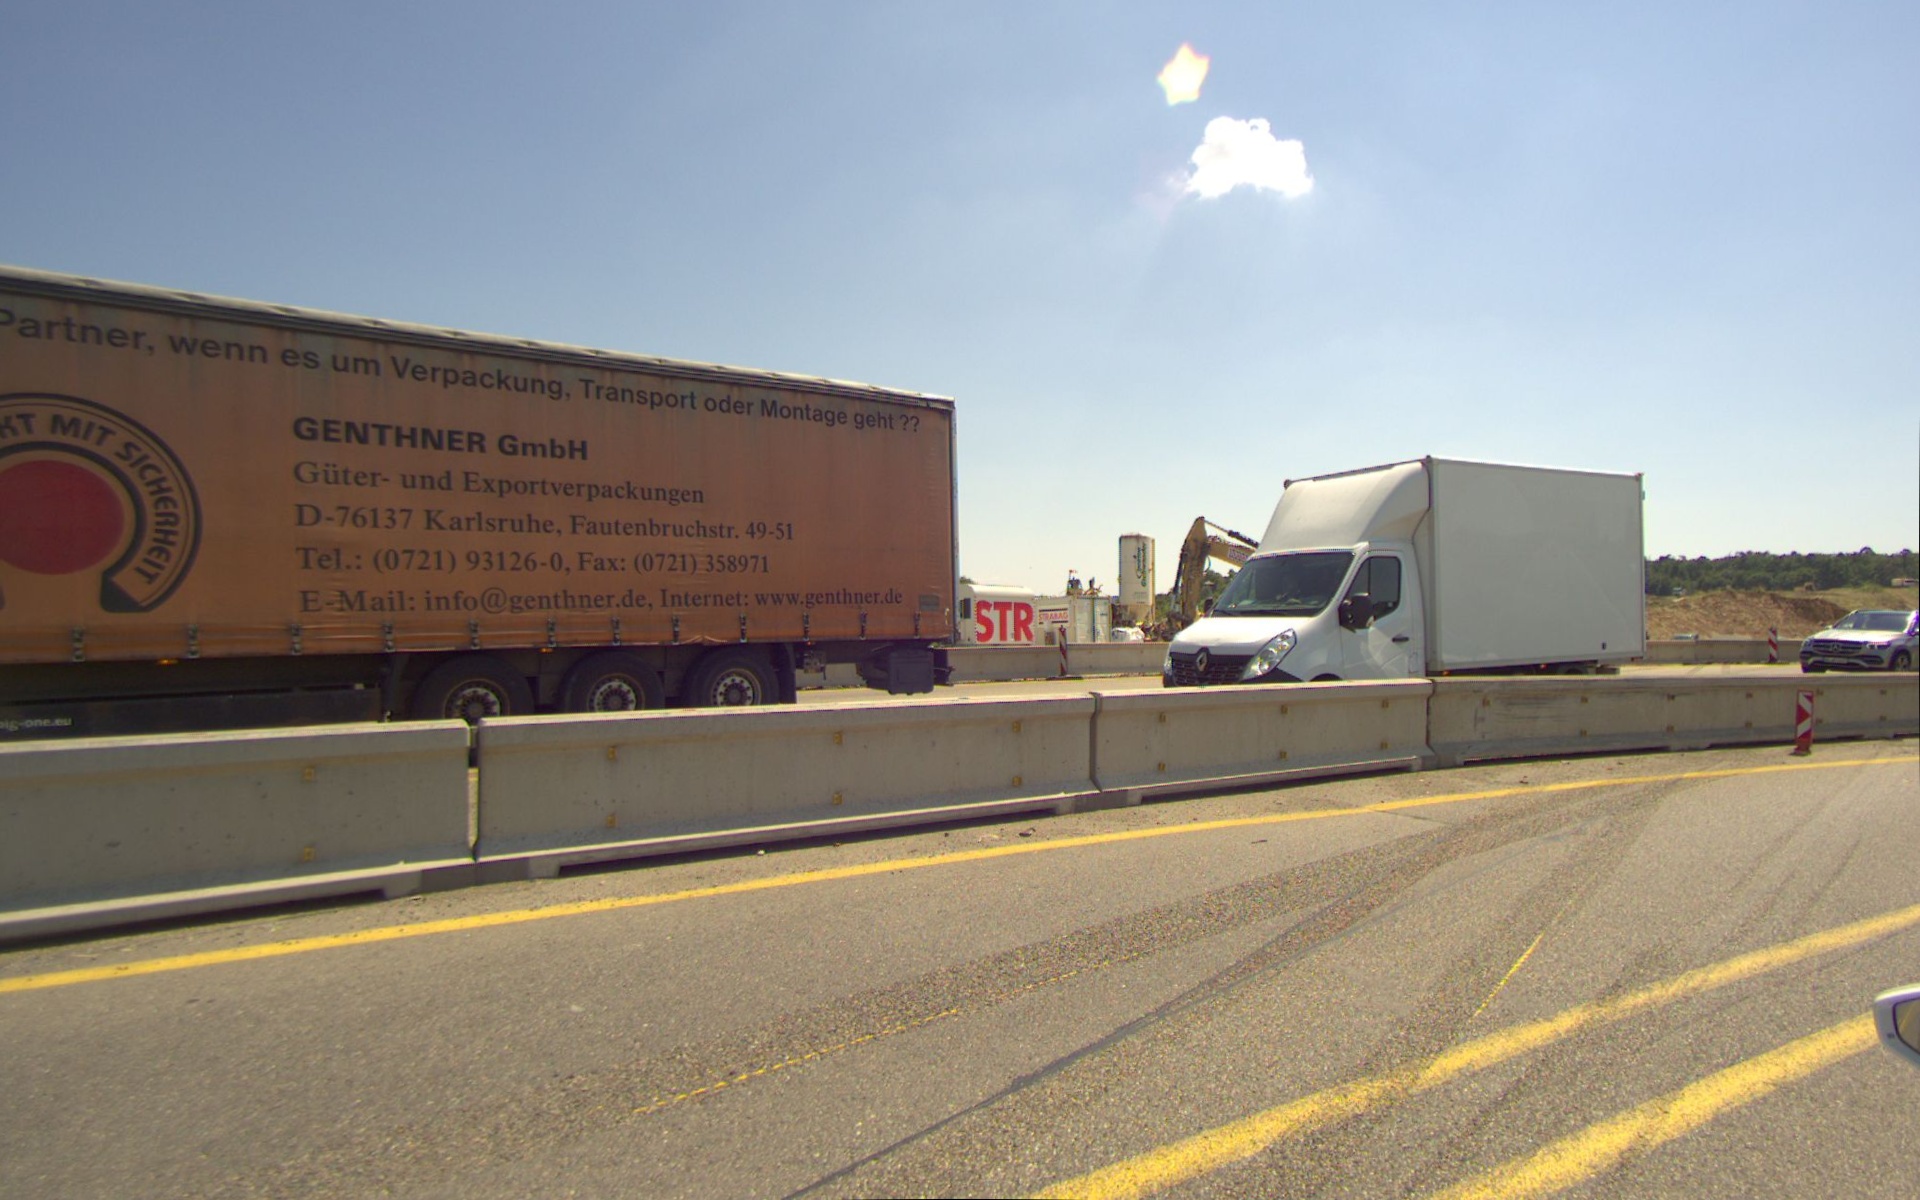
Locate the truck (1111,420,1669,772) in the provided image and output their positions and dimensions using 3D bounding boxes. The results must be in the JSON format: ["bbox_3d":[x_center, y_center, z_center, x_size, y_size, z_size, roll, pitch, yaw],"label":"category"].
[{"bbox_3d":[5.455,0.011,12.490,6.838,3.426,2.570,1,0,-27],"label":"truck"}]

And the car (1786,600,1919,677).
[{"bbox_3d":[23.719,0.981,25.904,4.840,1.830,1.860,1,-2,-25],"label":"car"}]

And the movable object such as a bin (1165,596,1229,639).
[{"bbox_3d":[18.309,1.358,77.591,4.414,3.183,1.992,1,0,-18],"label":"movable object such as a bin"}]

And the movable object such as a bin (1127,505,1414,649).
[{"bbox_3d":[10.388,-0.634,33.531,9.181,4.387,2.921,1,0,-19],"label":"movable object such as a bin"}]

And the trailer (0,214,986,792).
[{"bbox_3d":[-5.666,-0.673,9.870,12.938,4.207,2.569,1,0,-36],"label":"trailer"}]

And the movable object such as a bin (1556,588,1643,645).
[{"bbox_3d":[37.100,0.956,58.302,4.209,3.183,1.992,1,0,-18],"label":"movable object such as a bin"}]

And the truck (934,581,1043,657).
[{"bbox_3d":[1.243,0.783,42.845,4.234,3.084,2.319,1,0,-43],"label":"truck"}]

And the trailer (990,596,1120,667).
[{"bbox_3d":[4.360,1.377,46.858,2.863,3.037,5.511,1,0,-42],"label":"trailer"}]

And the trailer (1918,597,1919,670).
[{"bbox_3d":[29.407,0.988,28.473,4.377,2.049,1.859,1,0,-26],"label":"trailer"}]
